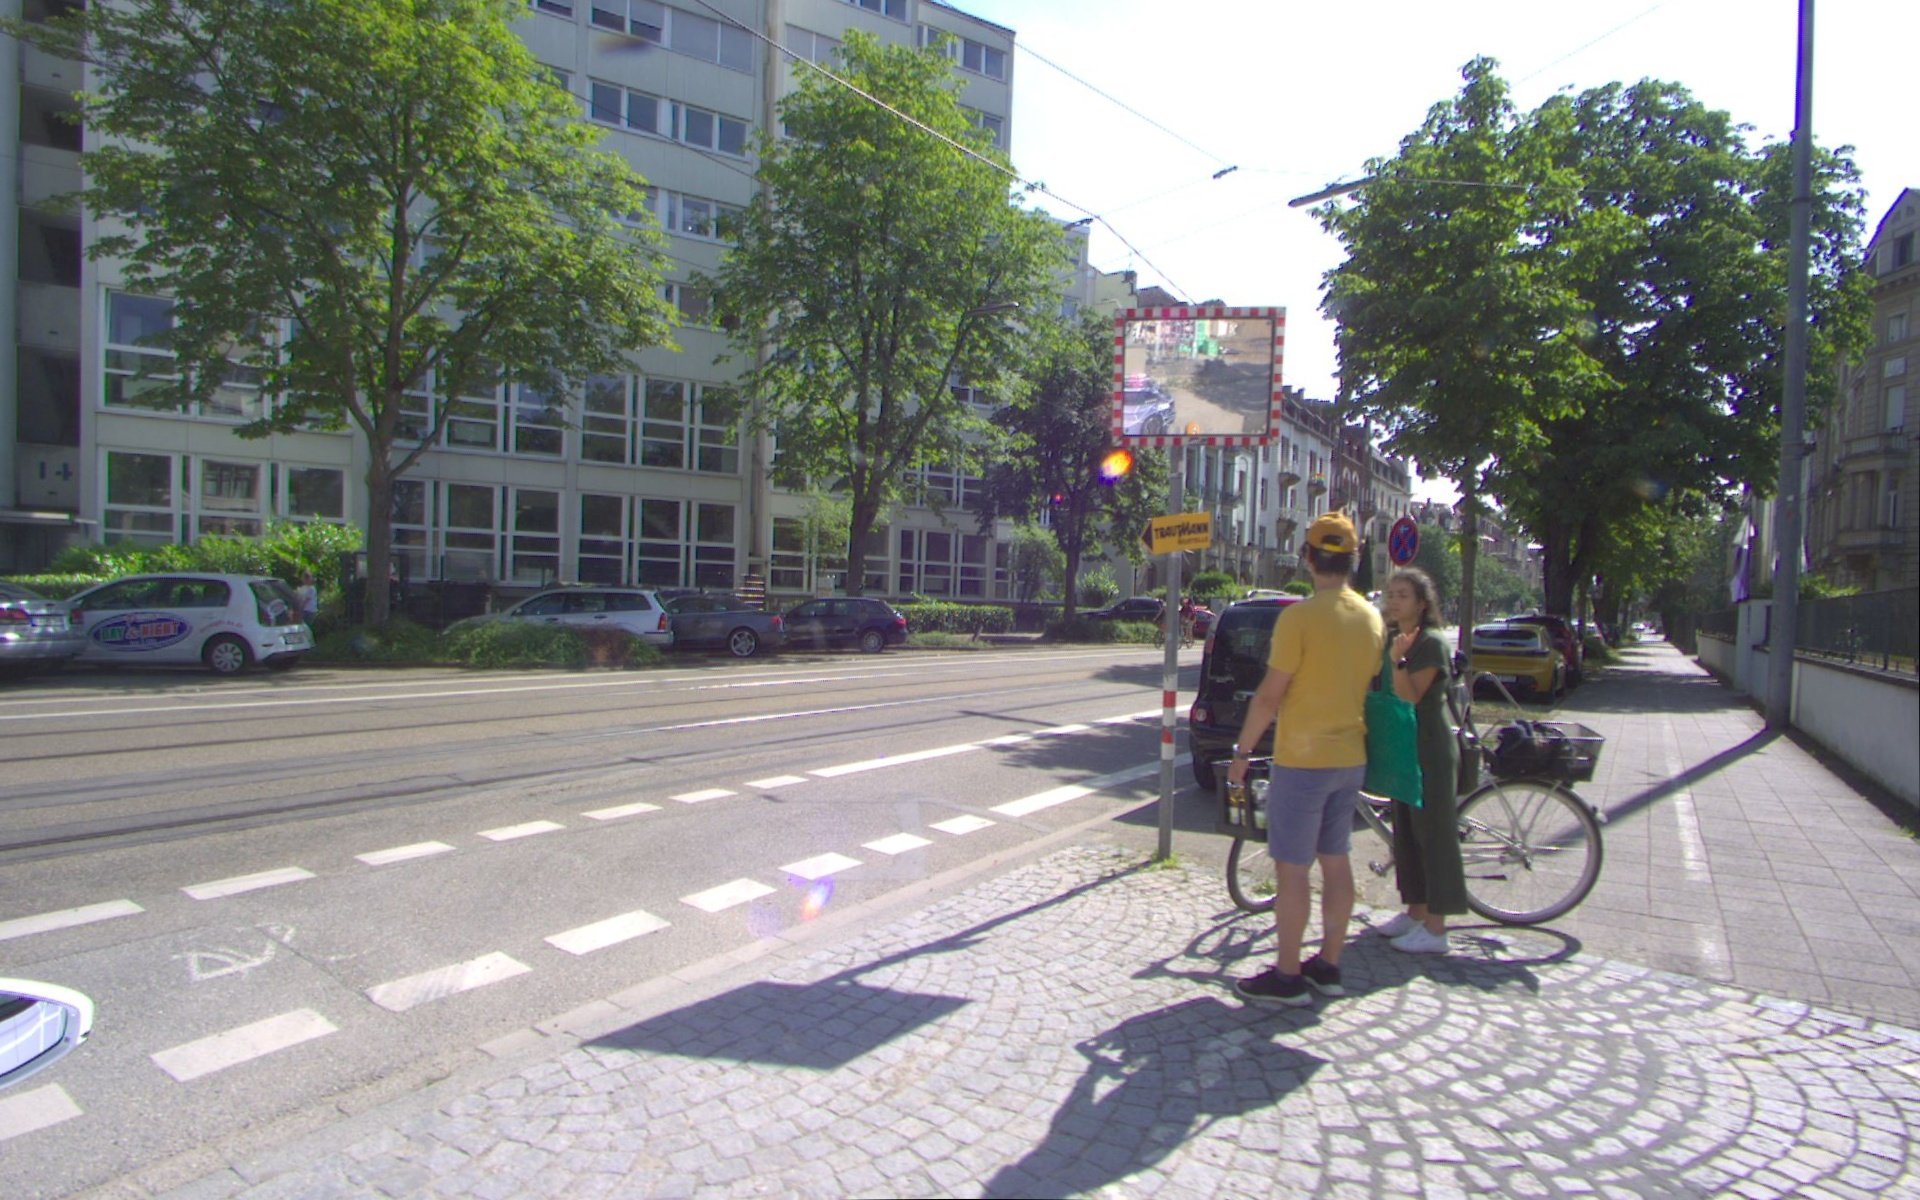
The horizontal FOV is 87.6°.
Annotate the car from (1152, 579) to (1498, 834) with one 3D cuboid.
[{"bbox_3d":[3.435,0.755,8.934,1.832,1.706,3.975,2,0,36],"label":"car"}]

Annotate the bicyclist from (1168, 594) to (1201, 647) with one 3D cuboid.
[{"bbox_3d":[7.984,0.731,35.555,0.794,1.825,0.858,2,1,38],"label":"bicyclist"}]

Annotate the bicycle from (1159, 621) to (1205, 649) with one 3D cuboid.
[{"bbox_3d":[7.899,1.241,35.560,0.671,0.929,2.305,2,0,37],"label":"bicycle"}]

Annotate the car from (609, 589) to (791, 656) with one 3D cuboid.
[{"bbox_3d":[-5.860,0.508,22.923,3.872,1.375,1.557,2,0,-11],"label":"car"}]

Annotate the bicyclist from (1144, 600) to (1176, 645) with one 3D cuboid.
[{"bbox_3d":[7.255,0.815,36.239,0.794,1.563,0.858,2,1,38],"label":"bicyclist"}]

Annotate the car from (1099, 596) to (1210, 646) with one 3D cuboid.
[{"bbox_3d":[7.905,0.839,40.820,3.930,1.884,1.995,2,1,-18],"label":"car"}]

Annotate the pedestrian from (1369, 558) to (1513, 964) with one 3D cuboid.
[{"bbox_3d":[2.056,0.654,4.323,0.445,1.643,0.421,2,1,17],"label":"pedestrian"}]

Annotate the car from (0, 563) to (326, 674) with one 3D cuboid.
[{"bbox_3d":[-11.869,0.270,14.809,3.871,1.506,1.611,1,1,-10],"label":"car"}]

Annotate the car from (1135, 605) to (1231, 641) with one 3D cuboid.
[{"bbox_3d":[10.514,1.070,47.267,3.926,1.528,1.998,2,0,-11],"label":"car"}]

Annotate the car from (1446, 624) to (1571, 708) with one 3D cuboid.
[{"bbox_3d":[10.969,1.218,19.892,1.830,1.430,3.978,2,0,33],"label":"car"}]

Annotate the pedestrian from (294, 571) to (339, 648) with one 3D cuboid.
[{"bbox_3d":[-12.657,0.190,19.697,0.418,1.480,0.619,2,1,32],"label":"pedestrian"}]

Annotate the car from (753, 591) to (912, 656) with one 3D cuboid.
[{"bbox_3d":[-3.279,0.591,25.662,3.872,1.506,1.557,2,0,-11],"label":"car"}]

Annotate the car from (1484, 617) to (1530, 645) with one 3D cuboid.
[{"bbox_3d":[31.668,1.766,57.910,1.865,1.427,4.567,4,1,34],"label":"car"}]

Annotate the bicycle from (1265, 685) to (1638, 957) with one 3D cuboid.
[{"bbox_3d":[2.219,0.979,4.671,1.485,1.055,0.363,2,1,17],"label":"bicycle"}]

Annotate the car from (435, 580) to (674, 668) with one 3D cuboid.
[{"bbox_3d":[-8.072,0.498,20.317,4.265,1.625,1.556,2,0,-13],"label":"car"}]

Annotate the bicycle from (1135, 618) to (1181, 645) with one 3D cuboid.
[{"bbox_3d":[7.163,1.124,36.195,0.671,0.929,2.305,2,0,37],"label":"bicycle"}]

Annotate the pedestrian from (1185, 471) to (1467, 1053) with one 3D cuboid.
[{"bbox_3d":[1.358,0.522,3.777,0.839,1.889,0.828,2,1,20],"label":"pedestrian"}]

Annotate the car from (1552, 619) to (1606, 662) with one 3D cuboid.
[{"bbox_3d":[26.738,1.730,43.230,1.830,1.702,3.978,2,0,33],"label":"car"}]

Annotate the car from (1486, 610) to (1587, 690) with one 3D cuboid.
[{"bbox_3d":[13.946,1.137,24.124,1.830,1.702,3.978,2,0,33],"label":"car"}]

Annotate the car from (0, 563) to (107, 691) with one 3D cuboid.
[{"bbox_3d":[-13.266,0.255,12.355,3.871,1.506,1.612,2,0,-9],"label":"car"}]
